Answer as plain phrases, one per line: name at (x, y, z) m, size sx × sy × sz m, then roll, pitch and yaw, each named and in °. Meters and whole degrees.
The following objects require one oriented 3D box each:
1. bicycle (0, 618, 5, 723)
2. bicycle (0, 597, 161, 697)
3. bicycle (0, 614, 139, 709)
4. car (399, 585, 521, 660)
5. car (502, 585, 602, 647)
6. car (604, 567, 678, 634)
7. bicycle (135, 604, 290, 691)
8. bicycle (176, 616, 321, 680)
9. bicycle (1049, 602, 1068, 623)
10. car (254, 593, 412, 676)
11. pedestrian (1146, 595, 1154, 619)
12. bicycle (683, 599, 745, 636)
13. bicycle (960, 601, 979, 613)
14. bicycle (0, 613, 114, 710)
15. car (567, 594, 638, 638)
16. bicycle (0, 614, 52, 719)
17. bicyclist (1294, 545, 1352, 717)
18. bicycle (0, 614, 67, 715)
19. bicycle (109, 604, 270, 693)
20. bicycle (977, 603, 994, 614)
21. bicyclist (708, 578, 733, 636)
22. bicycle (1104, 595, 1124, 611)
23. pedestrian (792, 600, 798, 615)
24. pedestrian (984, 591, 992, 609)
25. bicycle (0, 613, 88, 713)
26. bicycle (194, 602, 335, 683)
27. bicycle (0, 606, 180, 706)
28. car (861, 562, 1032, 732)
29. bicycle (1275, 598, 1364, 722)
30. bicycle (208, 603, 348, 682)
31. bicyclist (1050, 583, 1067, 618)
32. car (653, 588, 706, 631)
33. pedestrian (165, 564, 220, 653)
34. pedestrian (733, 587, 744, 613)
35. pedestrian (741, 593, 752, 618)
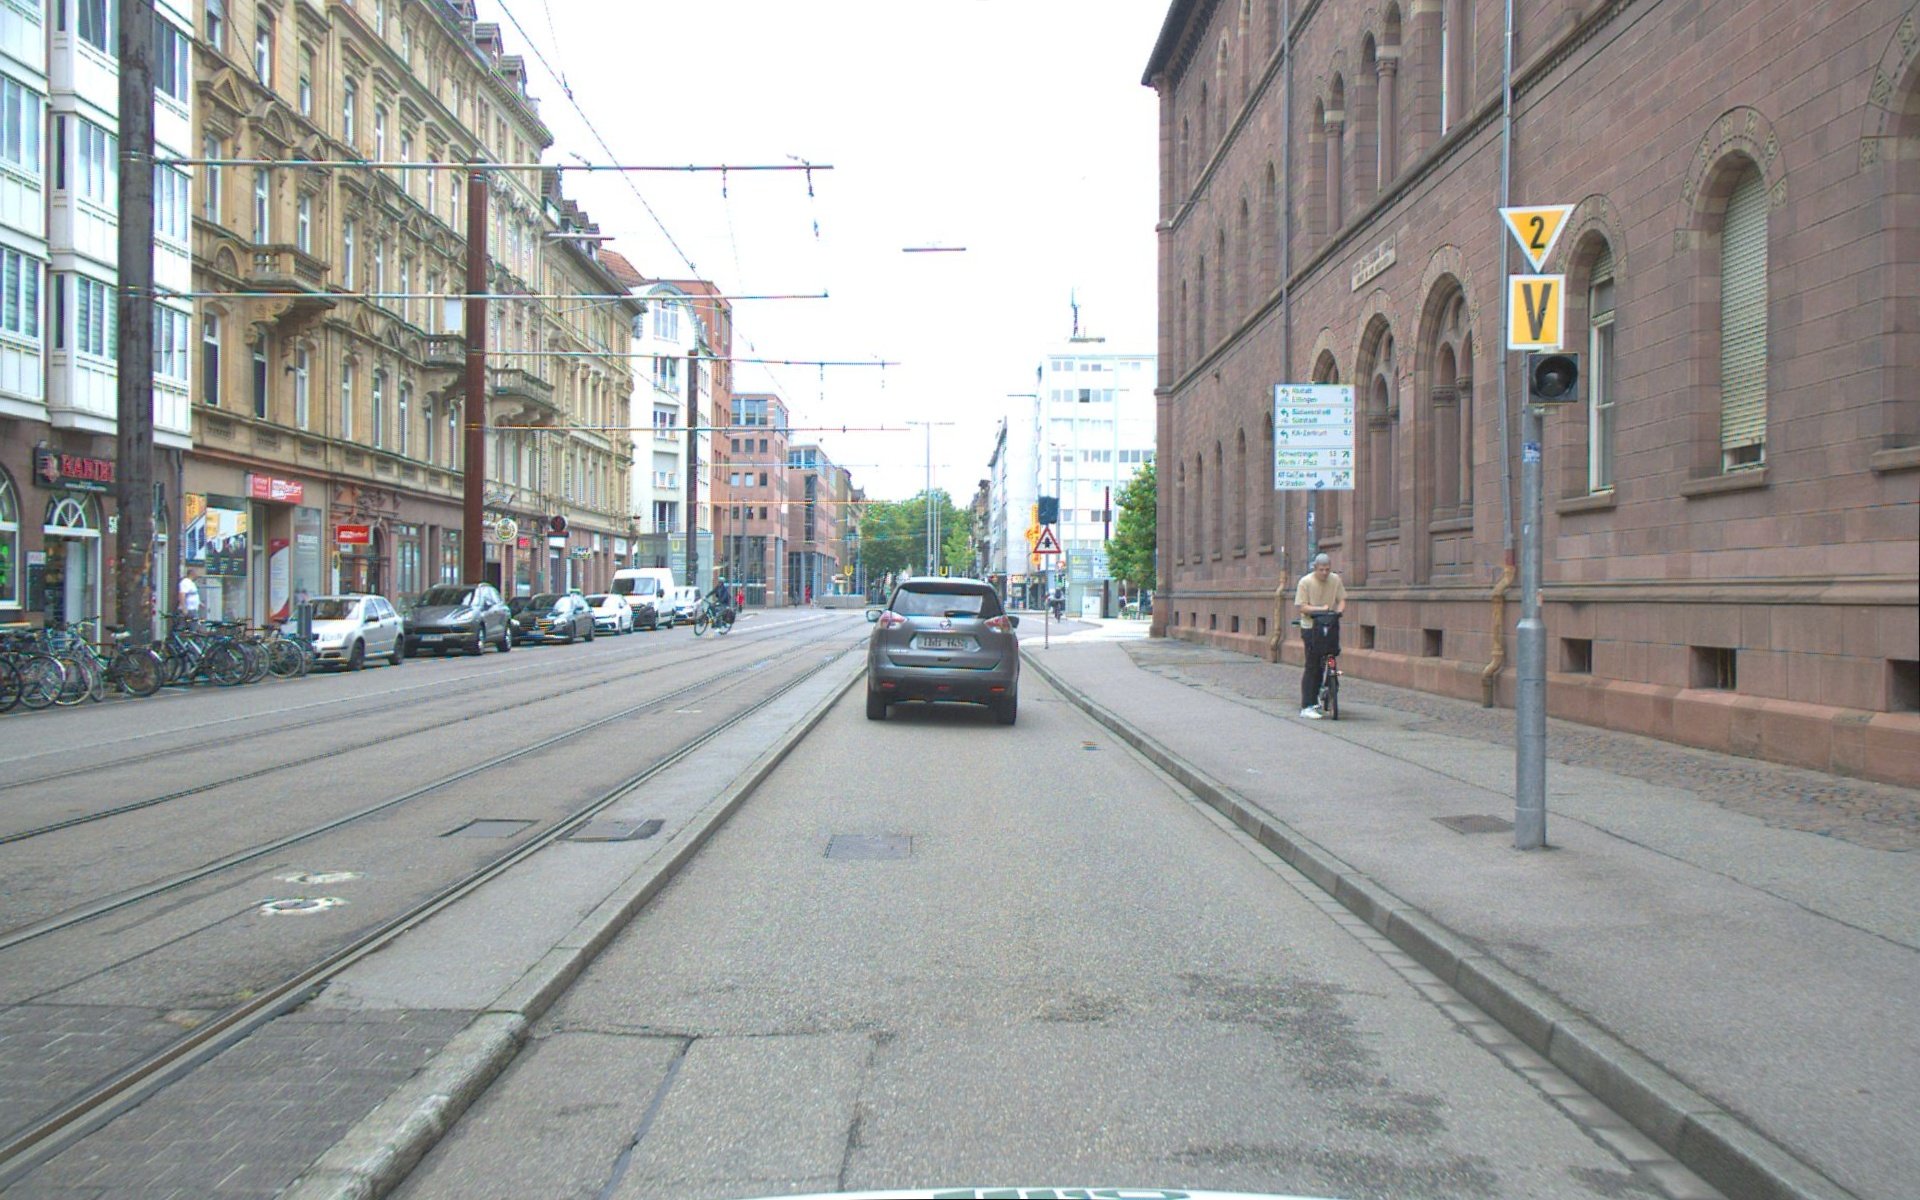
bicycle at (-12.353, 0.813, 19.153) m, size 2.235 × 1.224 × 0.547 m, roll 1°, pitch 0°, yaw -1°
bicycle at (-12.529, 0.657, 23.342) m, size 2.235 × 1.317 × 0.448 m, roll 2°, pitch 0°, yaw -1°
bicycle at (-12.529, 0.843, 22.623) m, size 2.235 × 1.224 × 0.666 m, roll -2°, pitch 0°, yaw -1°
car at (-12.361, 0.514, 41.215) m, size 1.777 × 1.719 × 5.028 m, roll -1°, pitch 0°, yaw -4°
car at (-12.252, 0.454, 49.992) m, size 1.881 × 1.719 × 5.050 m, roll -2°, pitch 0°, yaw -2°
car at (-12.926, 0.009, 67.367) m, size 2.011 × 2.530 × 5.663 m, roll -2°, pitch 0°, yaw -2°
bicycle at (-12.423, 0.786, 27.531) m, size 2.235 × 1.352 × 0.666 m, roll -2°, pitch 0°, yaw -1°
bicycle at (-12.372, 0.828, 28.776) m, size 2.235 × 1.059 × 0.619 m, roll 1°, pitch 0°, yaw -1°
bicycle at (5.313, 0.669, 89.335) m, size 0.883 × 1.063 × 3.278 m, roll 1°, pitch 0°, yaw 2°
car at (-12.321, 0.637, 32.741) m, size 1.708 × 1.514 × 3.919 m, roll -1°, pitch 0°, yaw -2°
pedestrian at (12.683, 0.469, 110.326) m, size 0.424 × 1.583 × 0.499 m, roll 1°, pitch 0°, yaw -1°
bicycle at (-8.262, 0.574, 55.661) m, size 2.023 × 1.194 × 0.579 m, roll -1°, pitch 0°, yaw -38°
bicycle at (0.924, 0.689, 162.543) m, size 1.836 × 1.192 × 0.529 m, roll 1°, pitch 0°, yaw -15°
bicycle at (-12.518, 0.823, 21.909) m, size 2.235 × 1.224 × 0.666 m, roll -2°, pitch 0°, yaw -1°
car at (-12.826, 0.556, 59.500) m, size 1.735 × 1.447 × 4.163 m, roll -2°, pitch 0°, yaw -2°
bicycle at (-12.222, 0.817, 19.840) m, size 2.235 × 1.224 × 0.705 m, roll -2°, pitch 0°, yaw -1°
bicyclist at (4.029, 0.340, 18.383) m, size 0.518 × 1.891 × 0.450 m, roll -1°, pitch 0°, yaw -2°
bicycle at (-12.374, 0.771, 20.521) m, size 2.235 × 1.224 × 0.540 m, roll 2°, pitch -2°, yaw -1°
bicycle at (-12.423, 0.770, 26.702) m, size 2.235 × 1.352 × 0.666 m, roll -2°, pitch 0°, yaw -1°
bicycle at (2.513, 0.851, 162.301) m, size 1.667 × 1.084 × 0.436 m, roll 1°, pitch 0°, yaw -14°
bicyclist at (-8.076, 0.240, 55.788) m, size 0.632 × 1.916 × 1.028 m, roll 1°, pitch 0°, yaw 1°
bicycle at (9.505, 0.202, 101.938) m, size 0.645 × 0.995 × 1.752 m, roll 0°, pitch 0°, yaw 27°
pedestrian at (-17.432, 0.750, 174.546) m, size 0.442 × 1.559 × 0.519 m, roll 1°, pitch 0°, yaw -19°
pedestrian at (2.726, 0.006, 161.808) m, size 0.718 × 1.776 × 0.662 m, roll 1°, pitch 0°, yaw -9°
bicycle at (-12.463, 0.815, 21.135) m, size 2.235 × 1.224 × 0.705 m, roll -2°, pitch 0°, yaw -1°
bicycle at (-12.368, 0.753, 29.441) m, size 2.235 × 1.352 × 0.521 m, roll -2°, pitch 0°, yaw -1°
bicycle at (-12.553, 0.796, 23.876) m, size 2.235 × 1.352 × 0.666 m, roll -2°, pitch 0°, yaw -1°
car at (-0.110, 0.501, 20.961) m, size 1.825 × 1.805 × 4.568 m, roll 4°, pitch 1°, yaw 1°
bicycle at (4.023, 0.637, 18.632) m, size 0.436 × 1.298 × 2.226 m, roll -2°, pitch 0°, yaw -1°
bicycle at (-12.422, 0.770, 30.162) m, size 2.235 × 1.352 × 0.666 m, roll -2°, pitch 0°, yaw -1°
bicyclist at (5.317, 0.036, 89.228) m, size 0.817 × 1.844 × 0.878 m, roll 1°, pitch 0°, yaw 2°
car at (-13.202, 0.439, 78.113) m, size 1.864 × 1.897 × 4.518 m, roll -1°, pitch 0°, yaw -2°
pedestrian at (-15.763, 0.175, 33.979) m, size 0.642 × 1.813 × 0.782 m, roll 1°, pitch -1°, yaw 36°
pedestrian at (-14.661, 0.013, 109.323) m, size 0.648 × 1.716 × 0.720 m, roll 0°, pitch -2°, yaw -13°
pedestrian at (-14.501, 0.378, 112.500) m, size 0.707 × 1.716 × 0.660 m, roll 0°, pitch -2°, yaw -11°
